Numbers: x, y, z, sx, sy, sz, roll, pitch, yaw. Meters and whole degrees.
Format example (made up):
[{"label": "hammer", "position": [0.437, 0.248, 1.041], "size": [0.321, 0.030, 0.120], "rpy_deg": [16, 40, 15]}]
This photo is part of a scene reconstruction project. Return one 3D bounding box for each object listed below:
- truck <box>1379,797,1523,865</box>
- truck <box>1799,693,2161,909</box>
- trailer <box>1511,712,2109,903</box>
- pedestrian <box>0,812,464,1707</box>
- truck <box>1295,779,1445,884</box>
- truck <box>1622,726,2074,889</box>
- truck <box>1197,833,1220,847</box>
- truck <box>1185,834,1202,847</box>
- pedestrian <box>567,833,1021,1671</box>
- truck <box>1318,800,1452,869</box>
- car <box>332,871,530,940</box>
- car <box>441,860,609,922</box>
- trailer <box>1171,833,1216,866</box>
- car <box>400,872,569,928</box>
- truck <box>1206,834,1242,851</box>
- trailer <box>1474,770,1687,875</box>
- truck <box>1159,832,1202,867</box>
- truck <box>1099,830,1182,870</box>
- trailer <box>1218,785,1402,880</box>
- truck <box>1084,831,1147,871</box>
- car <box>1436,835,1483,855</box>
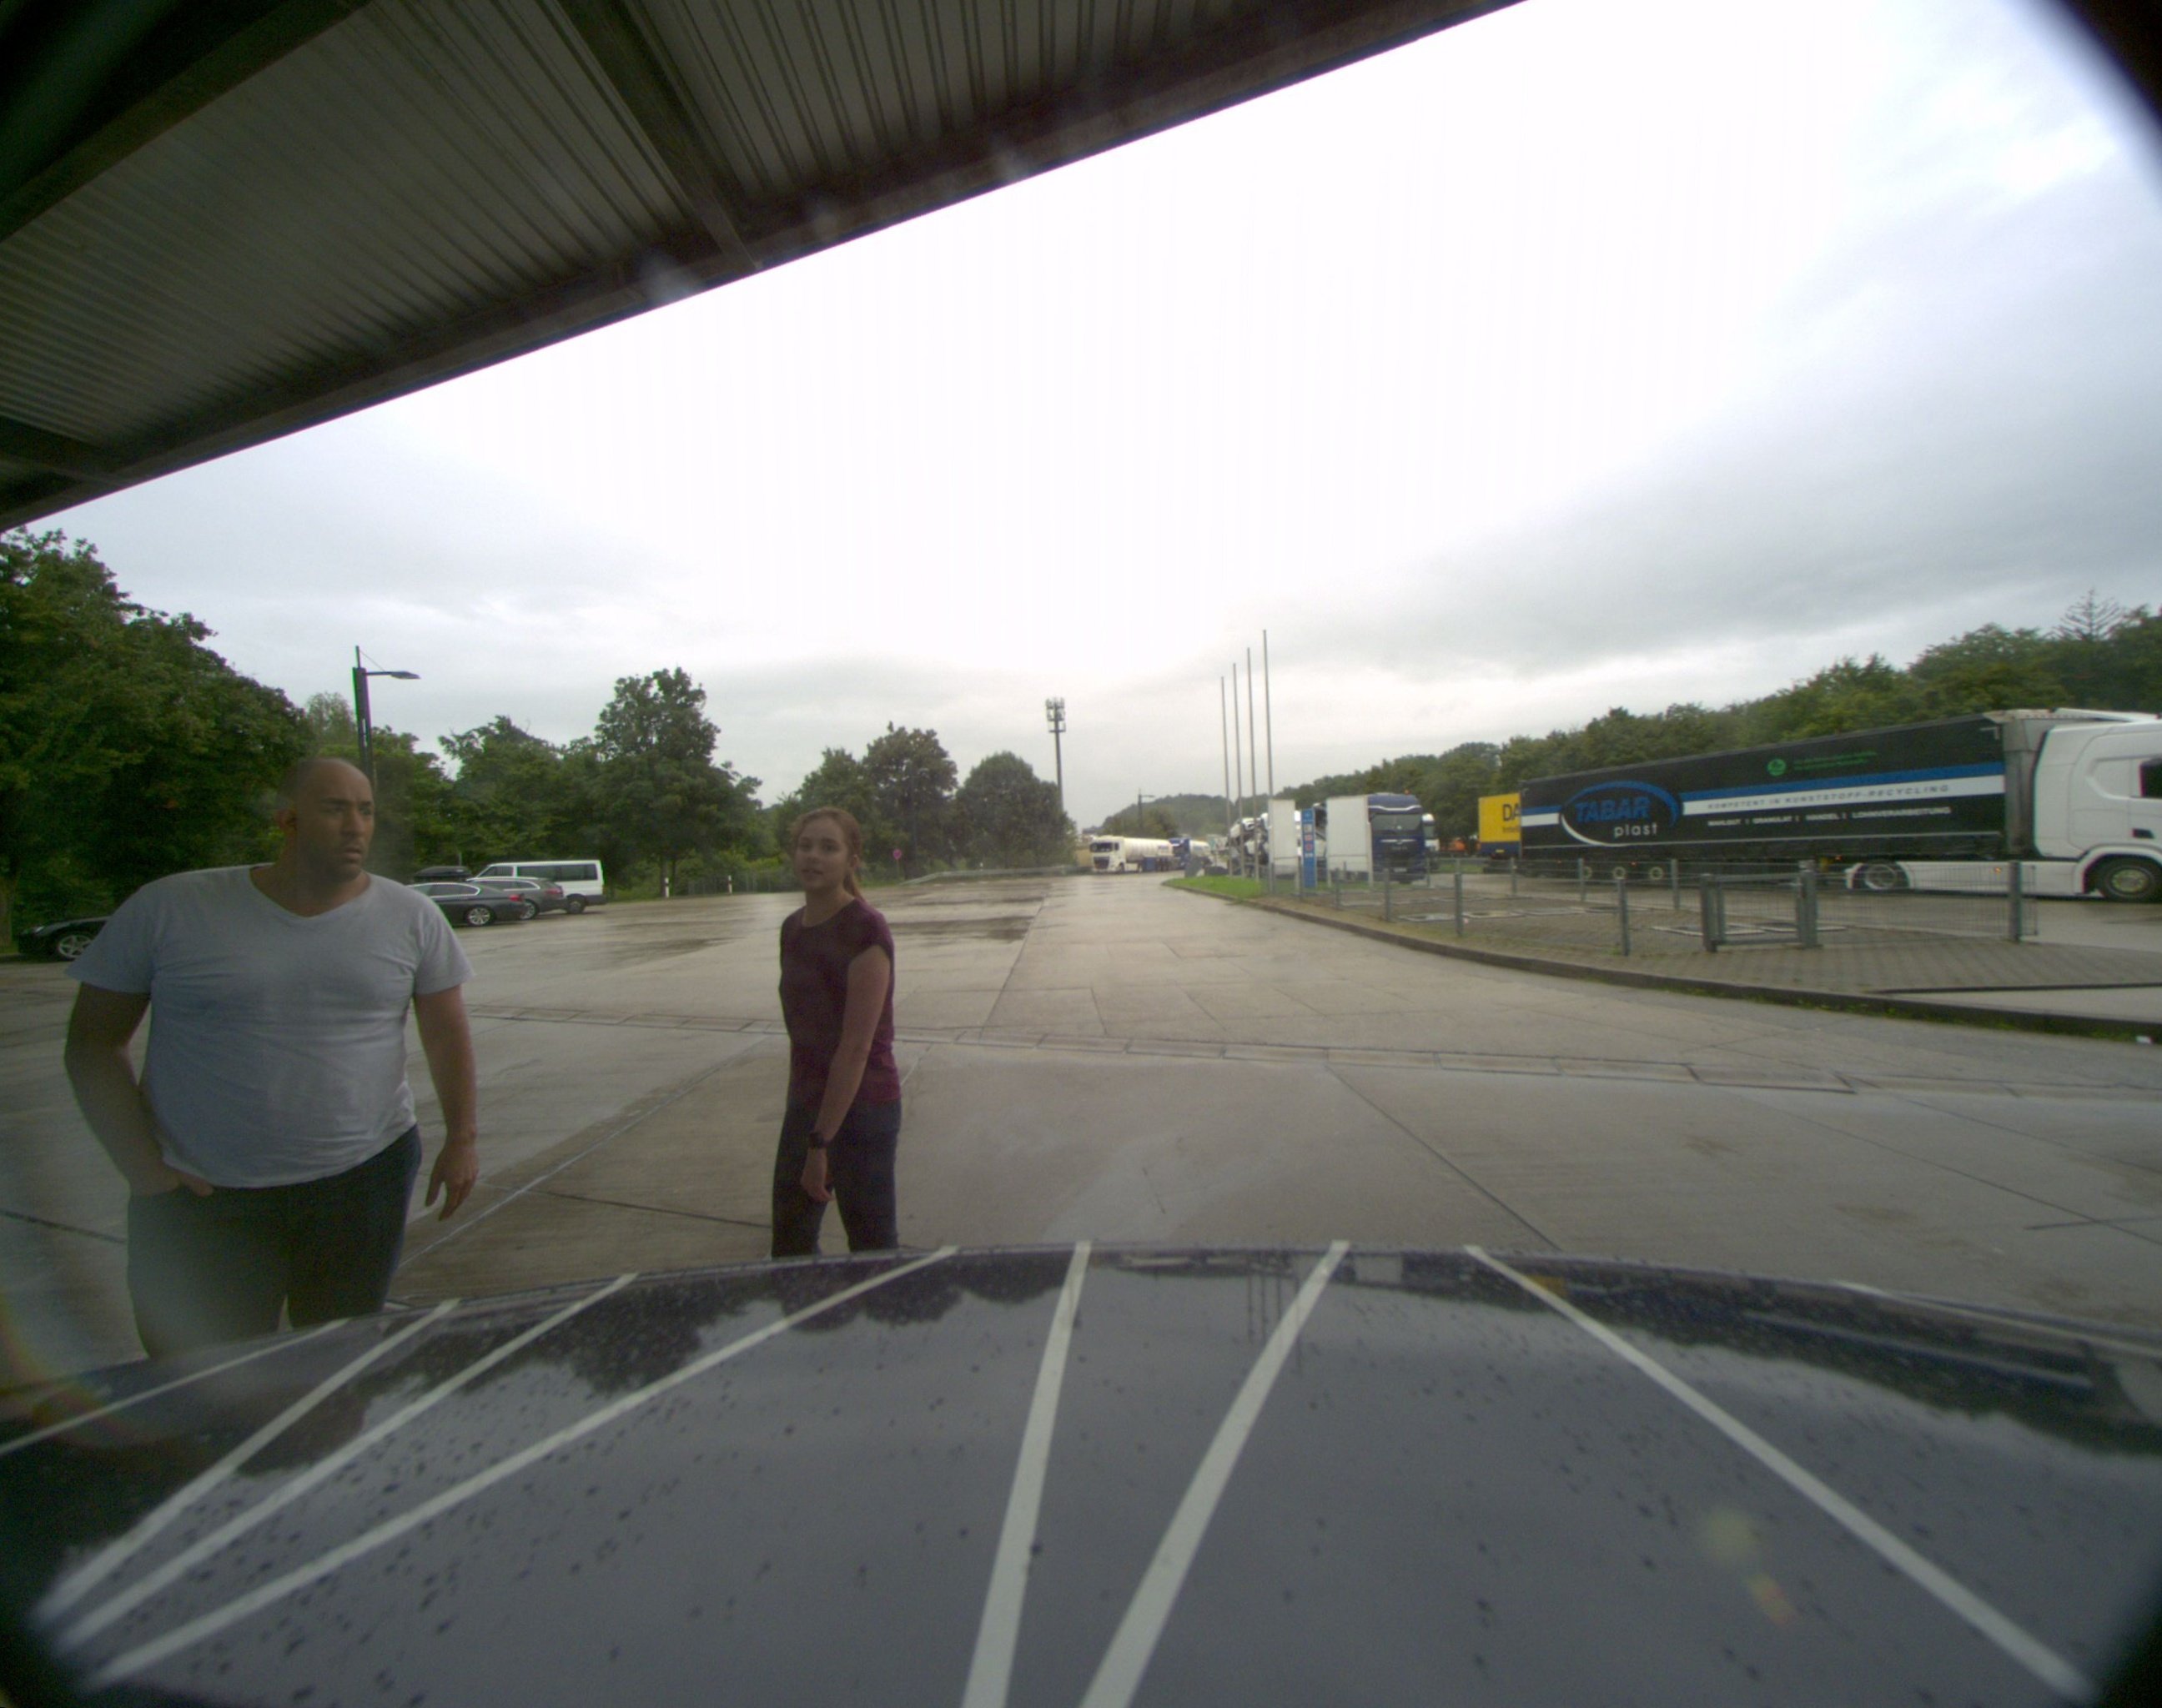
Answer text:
[{"label": "truck", "position": [24.367, -1.397, 50.969], "size": [2.991, 4.009, 10.464], "rpy_deg": [-2, 1, -10]}, {"label": "truck", "position": [20.872, -1.037, 16.738], "size": [2.992, 4.009, 6.733], "rpy_deg": [-2, 1, -15]}, {"label": "trailer", "position": [19.572, -1.059, 23.027], "size": [2.992, 4.009, 13.793], "rpy_deg": [-2, 1, -12]}, {"label": "pedestrian", "position": [-1.752, 0.830, 1.543], "size": [0.635, 1.800, 0.493], "rpy_deg": [-4, 3, -34]}, {"label": "truck", "position": [12.308, -0.918, 33.262], "size": [2.990, 4.009, 7.259], "rpy_deg": [-2, 1, -7]}, {"label": "truck", "position": [23.065, -1.208, 24.322], "size": [2.774, 4.009, 10.632], "rpy_deg": [-2, 1, -8]}, {"label": "truck", "position": [34.657, -3.849, 207.487], "size": [3.251, 3.543, 11.968], "rpy_deg": [-2, 1, -5]}, {"label": "truck", "position": [30.624, -3.671, 206.901], "size": [2.619, 3.458, 9.319], "rpy_deg": [-2, 1, -4]}, {"label": "pedestrian", "position": [-0.617, 0.824, 1.972], "size": [0.839, 1.724, 0.796], "rpy_deg": [-1, 1, -2]}, {"label": "truck", "position": [19.764, -1.214, 50.446], "size": [2.991, 4.009, 10.464], "rpy_deg": [-2, 1, -10]}, {"label": "car", "position": [-19.118, 1.451, 22.658], "size": [4.187, 1.720, 1.995], "rpy_deg": [-2, 0, -33]}, {"label": "car", "position": [-20.259, 1.282, 27.930], "size": [4.780, 1.974, 2.010], "rpy_deg": [-2, 0, -36]}, {"label": "trailer", "position": [13.677, -0.648, 91.456], "size": [2.898, 3.618, 10.586], "rpy_deg": [-2, 1, 22]}, {"label": "car", "position": [-19.650, 1.454, 25.299], "size": [4.187, 1.547, 1.995], "rpy_deg": [-2, 0, -33]}, {"label": "truck", "position": [33.297, -2.592, 177.899], "size": [3.251, 3.543, 16.548], "rpy_deg": [-2, 1, -7]}, {"label": "trailer", "position": [21.788, -1.269, 34.005], "size": [2.774, 4.009, 8.853], "rpy_deg": [-2, 1, -8]}, {"label": "truck", "position": [11.336, -0.521, 85.749], "size": [3.045, 3.745, 6.475], "rpy_deg": [-2, 1, 23]}, {"label": "truck", "position": [6.207, -0.519, 76.364], "size": [3.243, 3.544, 11.995], "rpy_deg": [-2, 1, 31]}, {"label": "trailer", "position": [11.379, -0.995, 40.954], "size": [2.990, 4.009, 16.597], "rpy_deg": [-2, 1, -7]}, {"label": "truck", "position": [3.324, -0.353, 71.453], "size": [3.243, 3.544, 6.114], "rpy_deg": [-2, 1, 31]}, {"label": "car", "position": [45.708, -1.060, 91.881], "size": [2.421, 2.163, 5.623], "rpy_deg": [-2, 0, -6]}]
